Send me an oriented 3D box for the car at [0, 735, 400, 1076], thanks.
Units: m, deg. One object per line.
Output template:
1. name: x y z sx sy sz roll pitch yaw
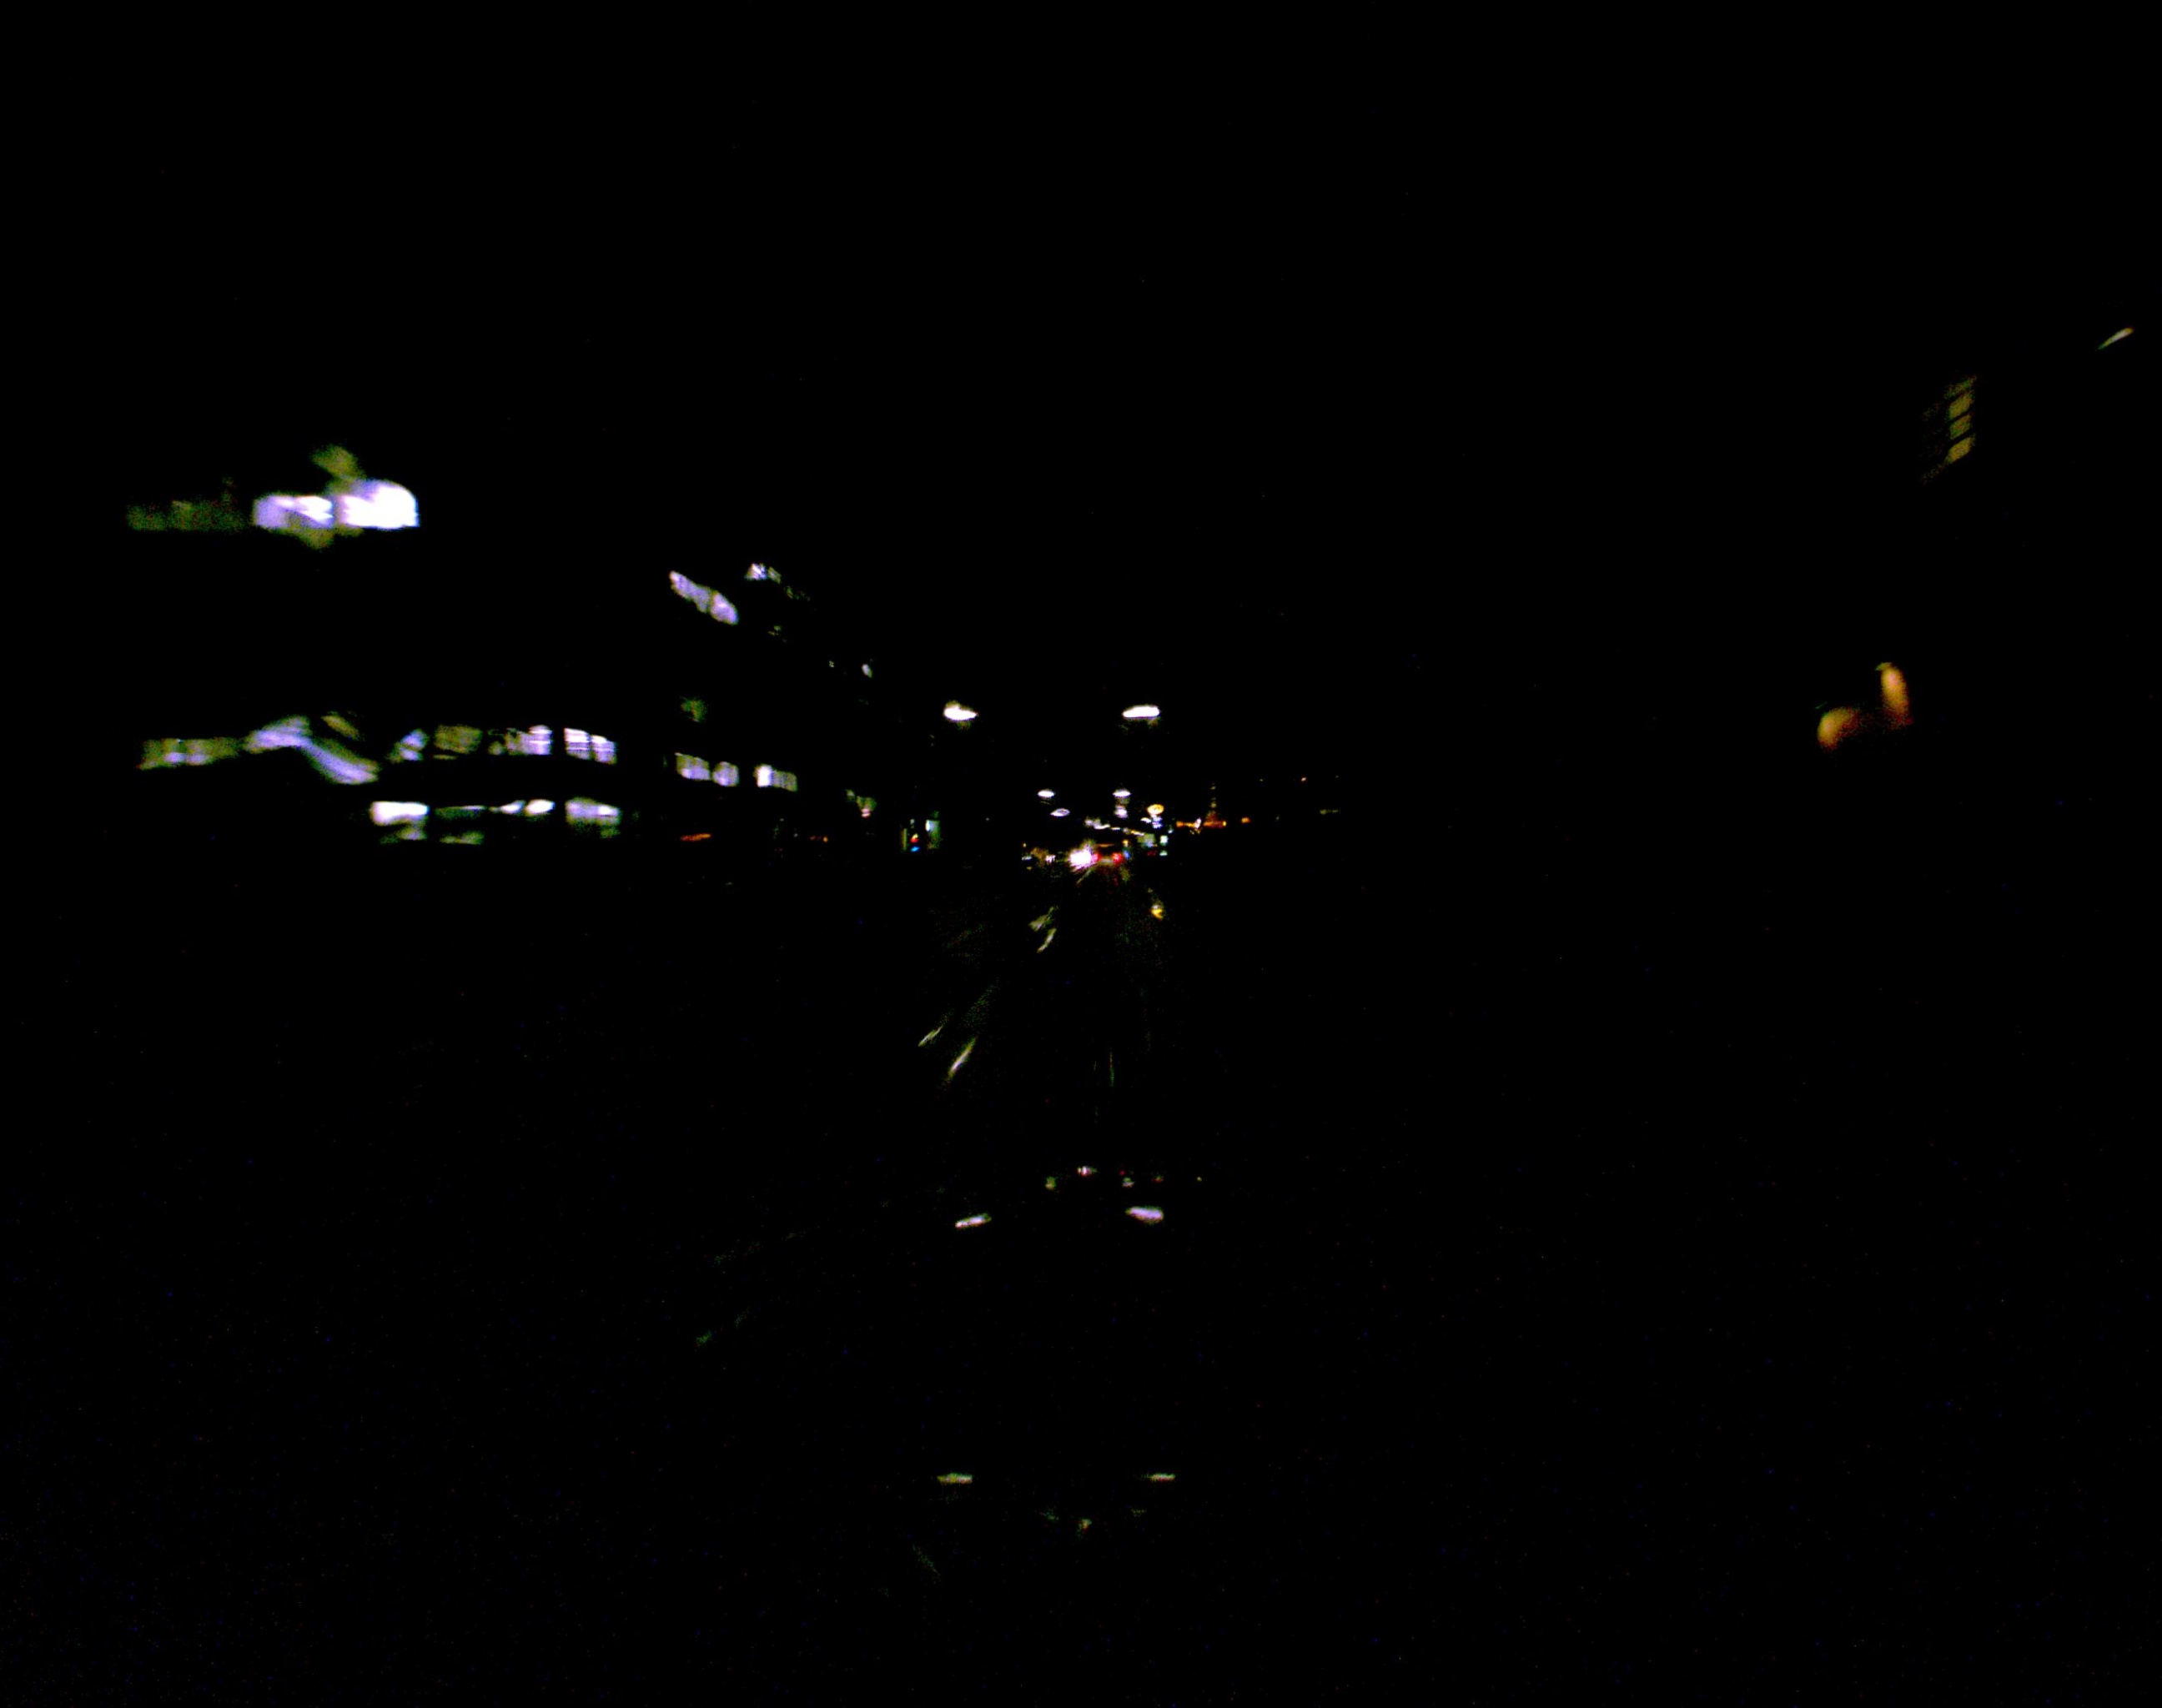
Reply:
1. car: -9.297 0.407 6.377 2.175 2.591 6.399 -1 1 4

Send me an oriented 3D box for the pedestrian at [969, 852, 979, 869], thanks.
1. pedestrian: -10.357 0.618 78.979 0.783 1.686 0.883 -1 -1 2

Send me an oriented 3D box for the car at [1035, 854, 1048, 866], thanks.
1. car: -7.088 1.051 145.685 1.985 2.014 4.003 -1 0 3

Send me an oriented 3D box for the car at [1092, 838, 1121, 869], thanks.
1. car: 2.056 -0.023 66.187 2.236 2.361 4.394 -1 0 1

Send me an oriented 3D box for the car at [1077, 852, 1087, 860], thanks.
1. car: 0.236 0.418 203.229 2.313 1.932 4.960 -1 0 -1

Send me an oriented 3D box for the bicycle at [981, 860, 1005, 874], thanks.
1. bicycle: -7.331 1.082 67.884 1.847 1.077 0.628 -1 -1 1

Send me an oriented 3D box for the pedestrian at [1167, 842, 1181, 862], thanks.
1. pedestrian: 8.115 -0.181 71.195 0.937 1.663 0.993 -4 0 -3
